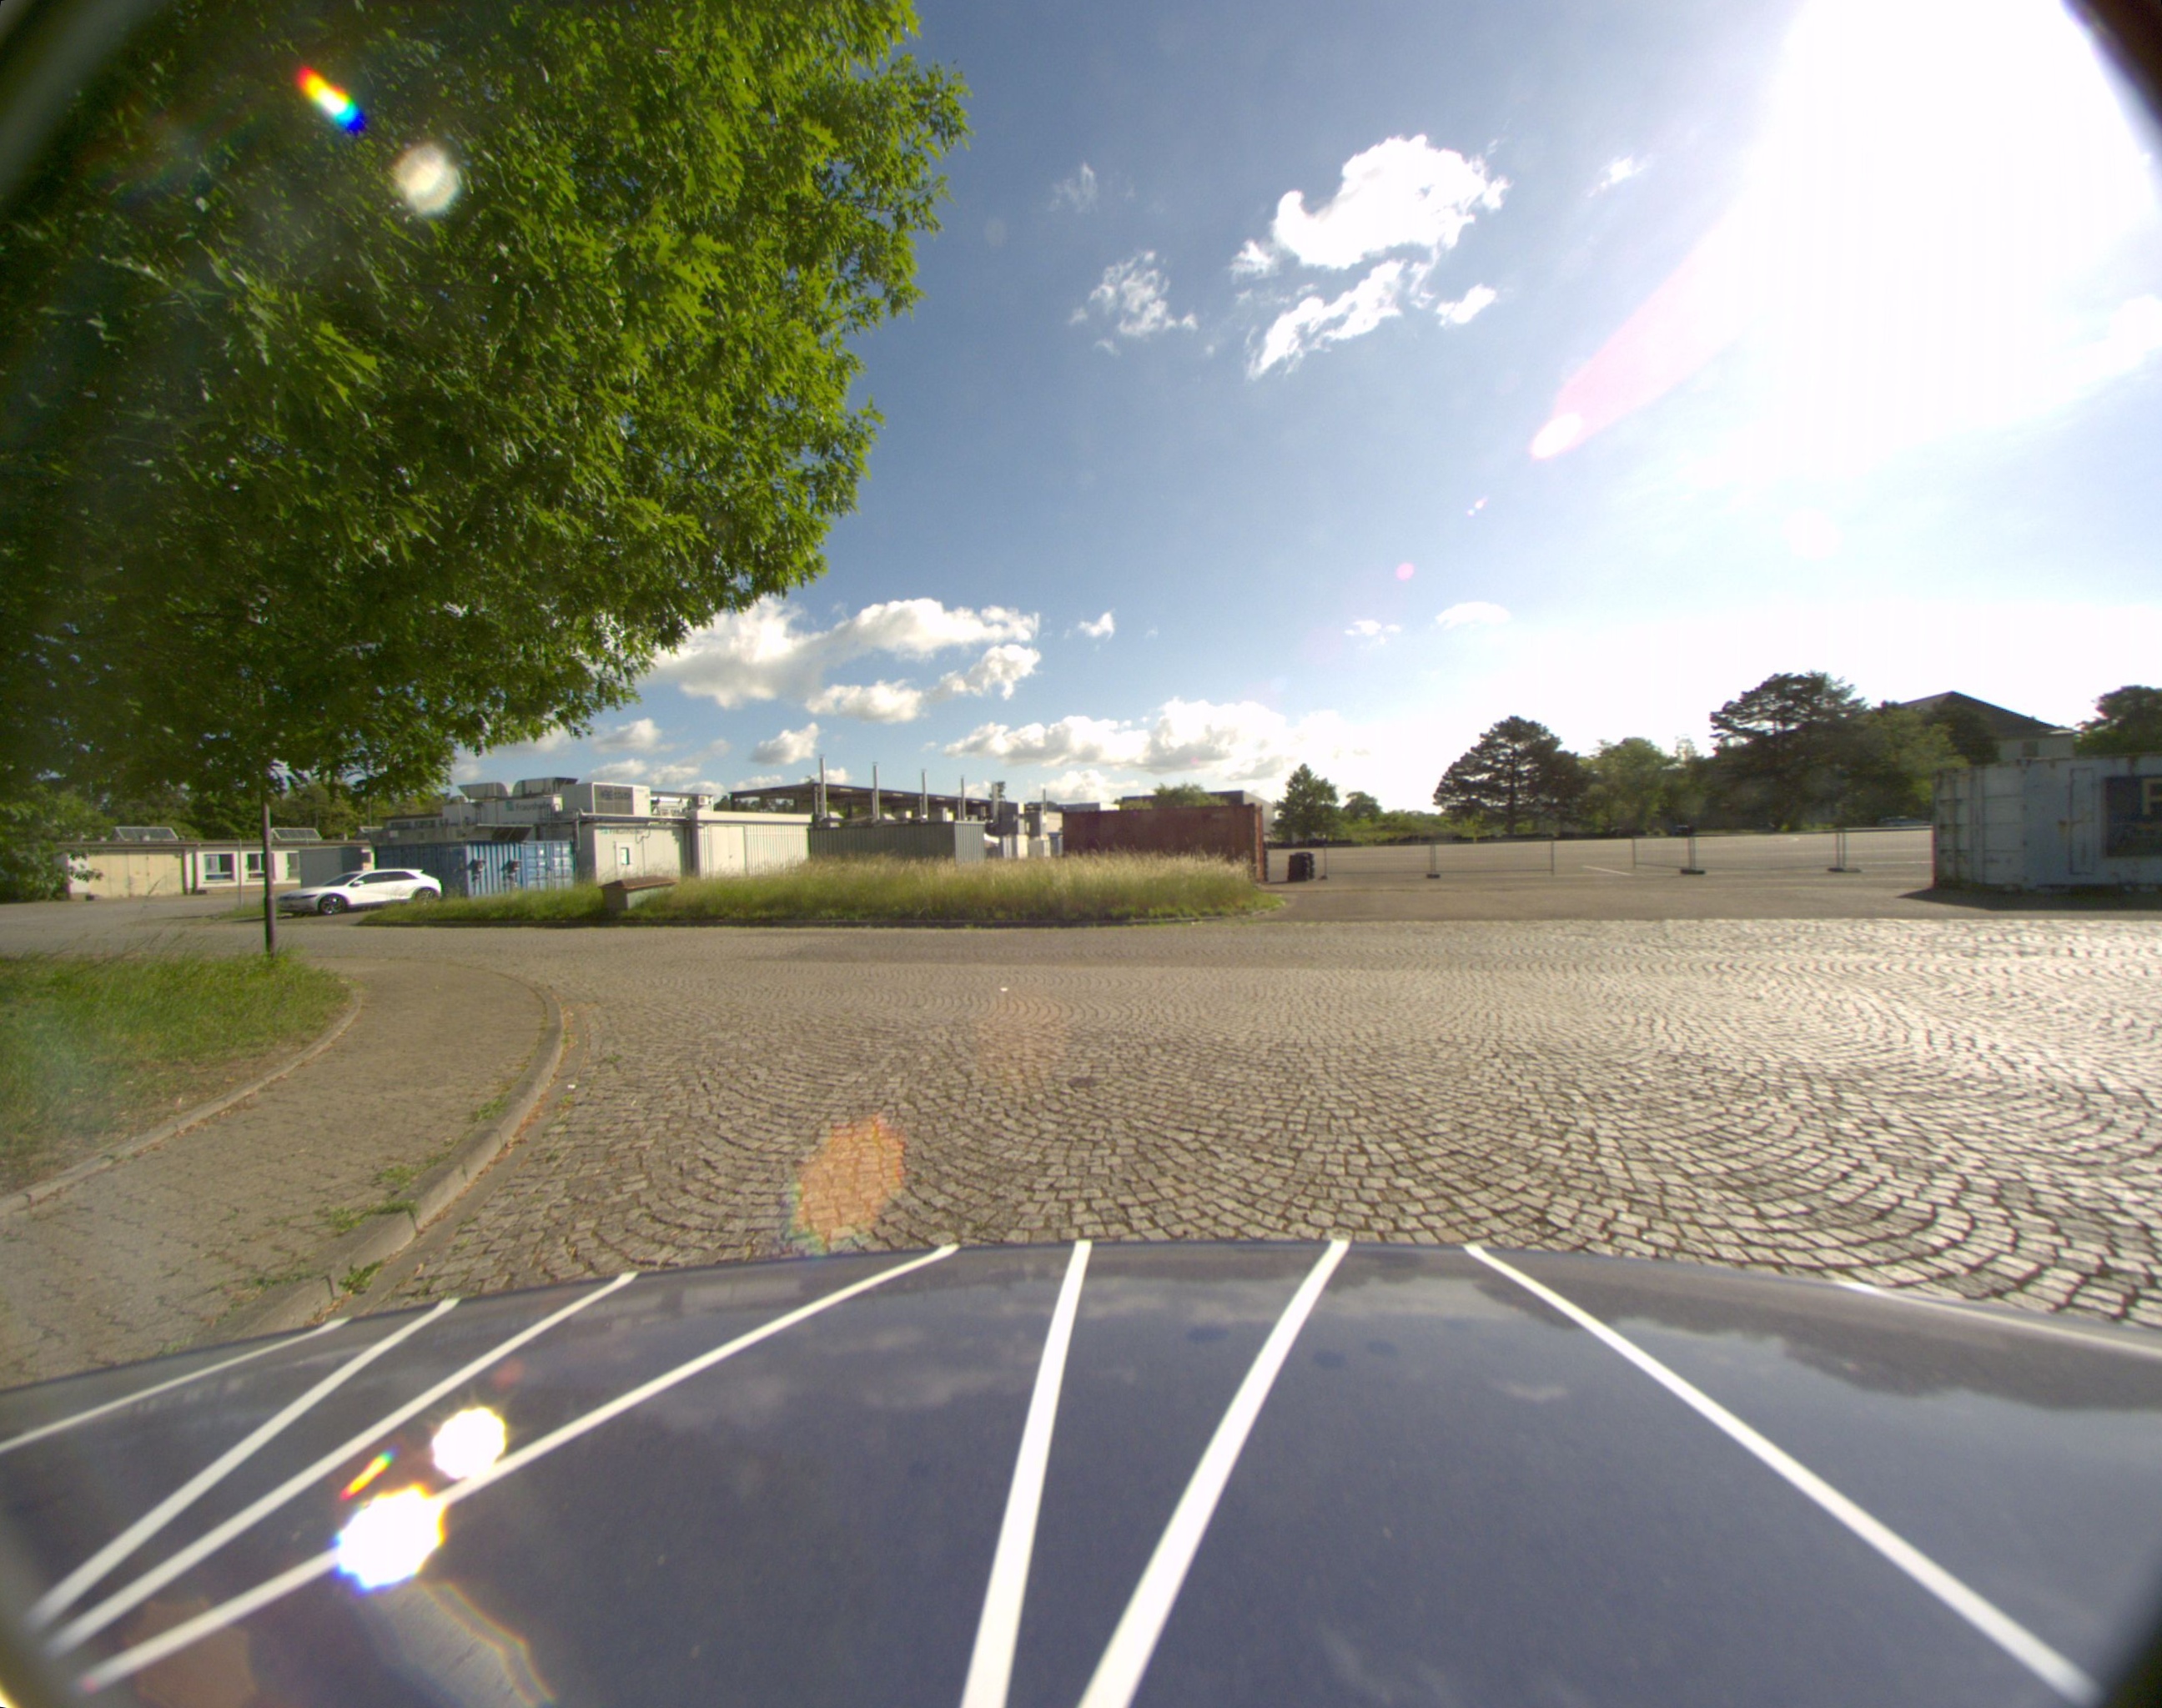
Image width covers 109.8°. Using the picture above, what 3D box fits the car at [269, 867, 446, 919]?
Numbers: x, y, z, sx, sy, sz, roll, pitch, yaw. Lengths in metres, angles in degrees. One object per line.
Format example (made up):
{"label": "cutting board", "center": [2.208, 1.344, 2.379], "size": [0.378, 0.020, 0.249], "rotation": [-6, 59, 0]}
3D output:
{"label": "car", "center": [-27.728, 1.431, 29.360], "size": [1.821, 1.584, 4.525], "rotation": [-3, 1, 18]}
